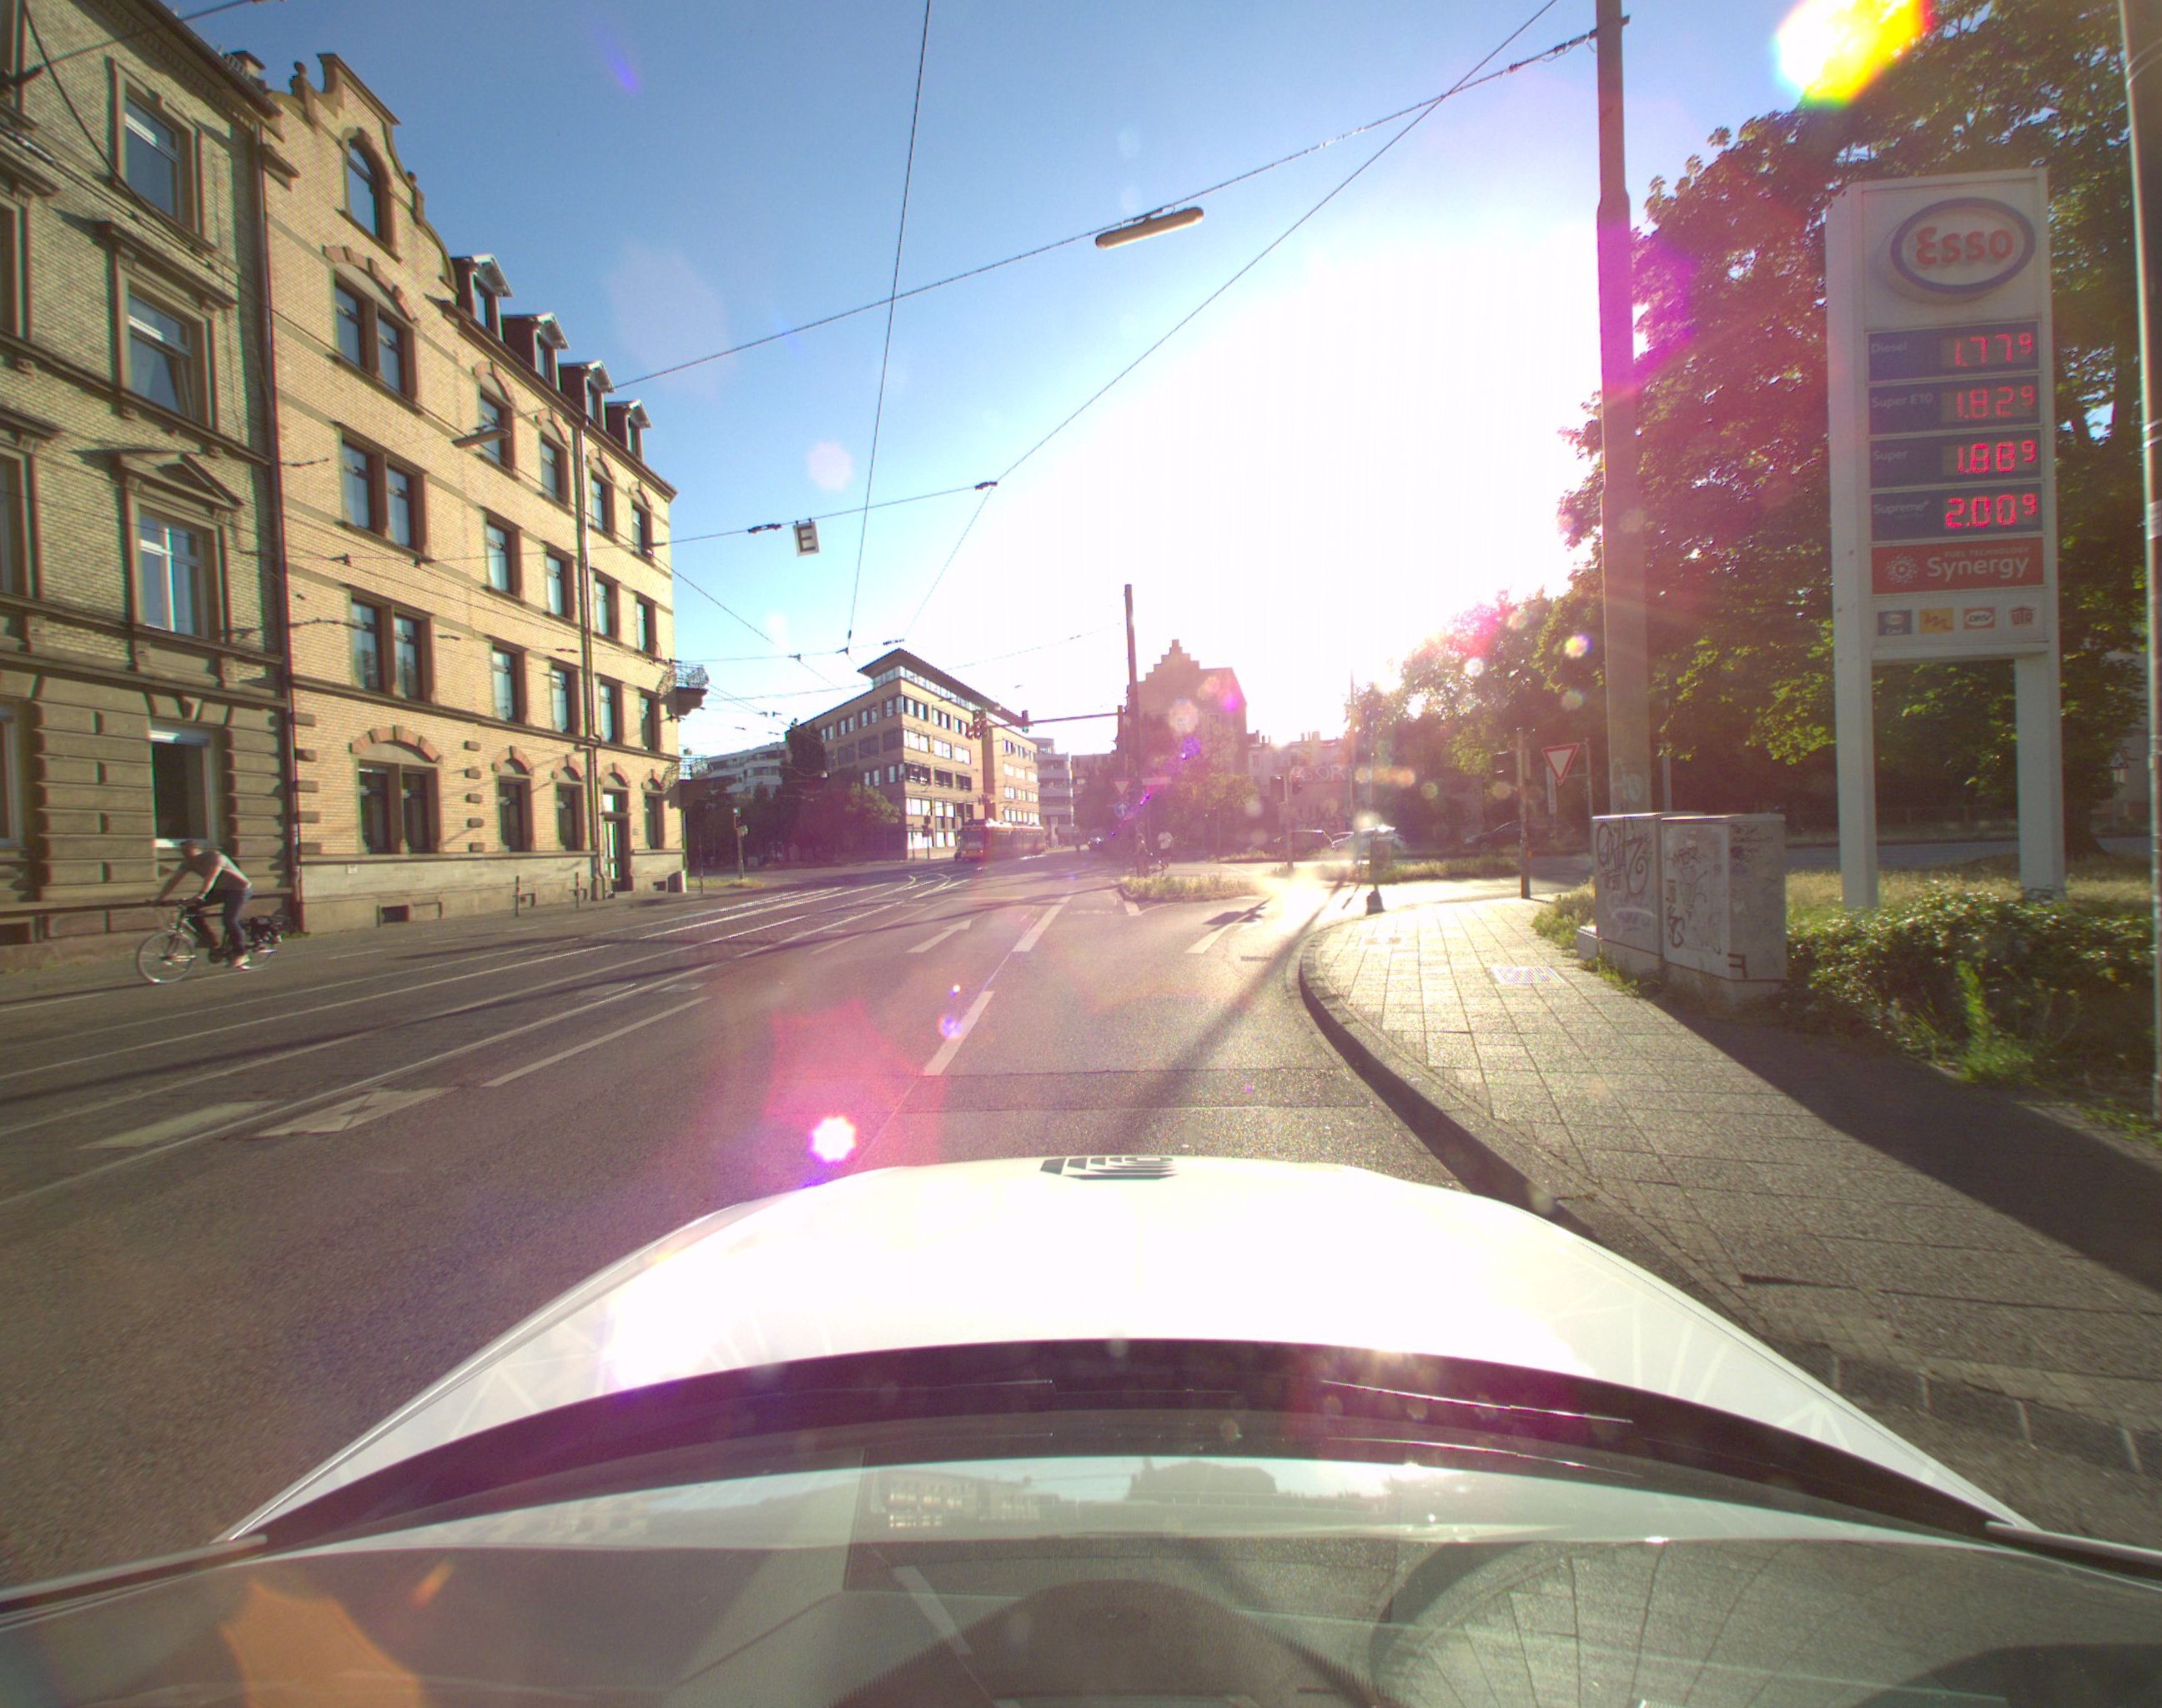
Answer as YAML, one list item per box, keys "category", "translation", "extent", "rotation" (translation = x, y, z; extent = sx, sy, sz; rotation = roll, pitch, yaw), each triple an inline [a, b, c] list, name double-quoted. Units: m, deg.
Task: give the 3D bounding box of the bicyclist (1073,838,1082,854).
- category: "bicyclist"
  translation: [-0.338, -0.780, 77.296]
  extent: [0.669, 1.522, 0.816]
  rotation: [-2, 0, 12]

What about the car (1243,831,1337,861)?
- category: "car"
  translation: [10.292, -0.375, 40.135]
  extent: [4.195, 1.296, 1.735]
  rotation: [-2, 1, 26]

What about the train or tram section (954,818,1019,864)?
- category: "train or tram section"
  translation: [-7.934, -1.121, 70.556]
  extent: [2.847, 3.507, 13.035]
  rotation: [-2, 1, 5]

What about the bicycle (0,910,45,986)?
- category: "bicycle"
  translation: [-14.300, 1.248, 9.898]
  extent: [0.644, 0.939, 2.089]
  rotation: [-2, 1, 2]

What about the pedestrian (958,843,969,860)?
- category: "pedestrian"
  translation: [-13.926, -0.266, 96.849]
  extent: [1.002, 2.013, 0.874]
  rotation: [-2, 0, 11]

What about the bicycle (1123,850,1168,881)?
- category: "bicycle"
  translation: [2.236, 0.407, 28.510]
  extent: [1.651, 1.029, 0.402]
  rotation: [-2, 1, 44]

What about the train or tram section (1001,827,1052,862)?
- category: "train or tram section"
  translation: [-5.734, -1.053, 87.938]
  extent: [2.843, 3.507, 11.328]
  rotation: [-2, 1, 9]

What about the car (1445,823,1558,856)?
- category: "car"
  translation: [18.527, -0.632, 36.063]
  extent: [4.322, 1.296, 1.734]
  rotation: [-2, 1, 25]

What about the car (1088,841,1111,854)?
- category: "car"
  translation: [2.083, -0.722, 92.515]
  extent: [1.772, 1.388, 4.015]
  rotation: [-2, 1, 13]

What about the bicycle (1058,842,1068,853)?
- category: "bicycle"
  translation: [-2.928, -1.047, 132.330]
  extent: [1.023, 1.651, 2.570]
  rotation: [-2, 0, 13]

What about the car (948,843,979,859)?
- category: "car"
  translation: [-10.972, -0.323, 76.300]
  extent: [1.800, 1.379, 4.170]
  rotation: [-2, 1, 6]

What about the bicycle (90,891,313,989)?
- category: "bicycle"
  translation: [-12.245, 1.146, 11.470]
  extent: [0.723, 1.083, 2.118]
  rotation: [-2, 1, 2]

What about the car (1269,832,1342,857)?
- category: "car"
  translation: [13.083, -0.580, 47.475]
  extent: [3.847, 1.296, 1.734]
  rotation: [-2, 1, 23]

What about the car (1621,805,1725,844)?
- category: "car"
  translation: [29.260, -1.428, 40.392]
  extent: [3.949, 1.794, 1.760]
  rotation: [0, 0, 28]

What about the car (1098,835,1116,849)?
- category: "car"
  translation: [3.530, -1.686, 111.674]
  extent: [1.982, 1.816, 4.010]
  rotation: [0, 0, 9]

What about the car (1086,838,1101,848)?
- category: "car"
  translation: [2.316, -2.035, 147.295]
  extent: [1.804, 1.614, 4.479]
  rotation: [-2, 1, 11]

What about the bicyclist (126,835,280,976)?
- category: "bicyclist"
  translation: [-12.270, 0.675, 11.434]
  extent: [0.725, 1.840, 1.213]
  rotation: [-2, 1, 2]

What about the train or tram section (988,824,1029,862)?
- category: "train or tram section"
  translation: [-7.059, -1.085, 79.615]
  extent: [2.846, 3.507, 5.313]
  rotation: [-2, 1, 6]

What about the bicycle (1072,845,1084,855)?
- category: "bicycle"
  translation: [-0.312, -0.363, 77.340]
  extent: [0.690, 0.877, 2.034]
  rotation: [-2, 1, 13]

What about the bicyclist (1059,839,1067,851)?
- category: "bicyclist"
  translation: [-2.888, -1.432, 132.470]
  extent: [1.022, 2.014, 1.251]
  rotation: [0, 0, 13]

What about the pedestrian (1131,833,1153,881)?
- category: "pedestrian"
  translation: [2.139, 0.104, 28.430]
  extent: [0.519, 1.631, 0.492]
  rotation: [-2, 0, 44]

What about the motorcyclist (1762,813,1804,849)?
- category: "motorcyclist"
  translation: [28.274, -0.923, 32.814]
  extent: [1.048, 1.398, 0.859]
  rotation: [-2, 0, 25]

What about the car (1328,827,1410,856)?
- category: "car"
  translation: [14.890, -0.666, 42.046]
  extent: [3.847, 1.319, 1.734]
  rotation: [-2, 1, 23]

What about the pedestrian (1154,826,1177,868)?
- category: "pedestrian"
  translation: [3.733, -0.308, 35.834]
  extent: [0.903, 1.789, 0.830]
  rotation: [-2, 0, 9]

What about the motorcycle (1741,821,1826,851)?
- category: "motorcycle"
  translation: [28.257, -0.716, 32.805]
  extent: [2.439, 1.107, 0.866]
  rotation: [-2, 1, 25]
